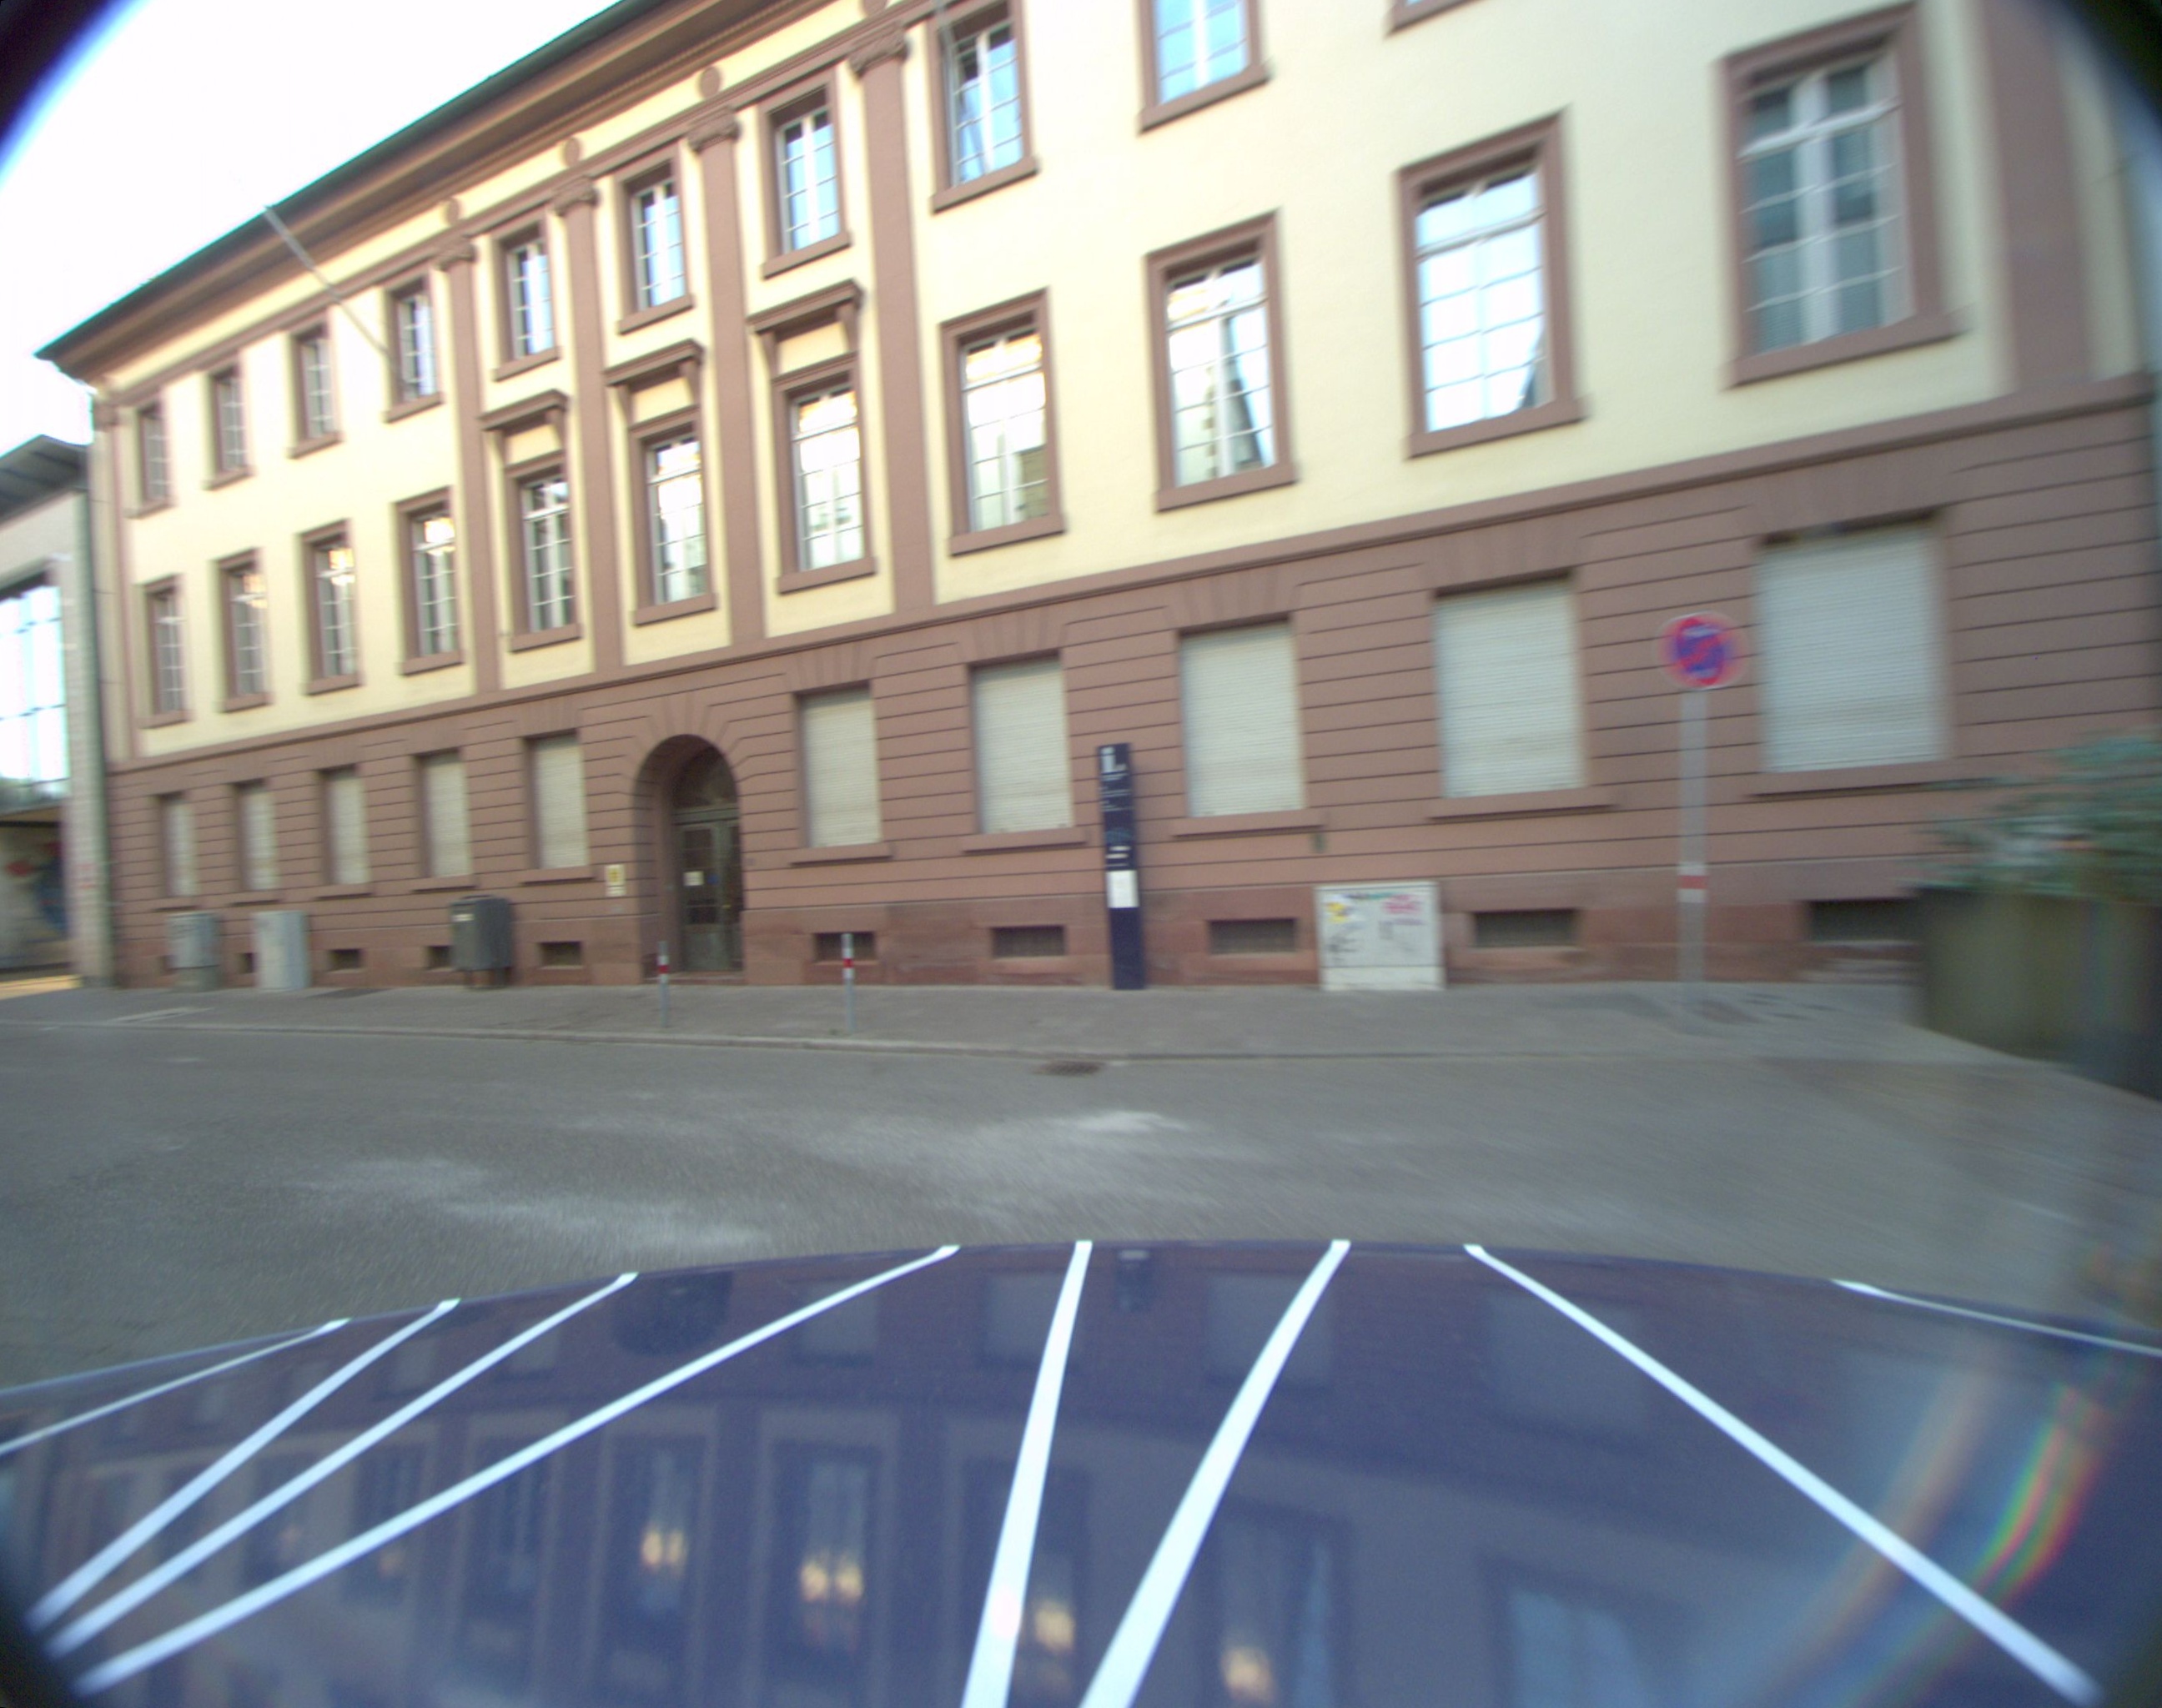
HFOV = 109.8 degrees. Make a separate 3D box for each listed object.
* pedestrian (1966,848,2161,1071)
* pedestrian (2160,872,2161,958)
[{"bbox_3d":[6.628,0.654,5.026,0.672,1.323,0.793,-3,2,18],"label":"pedestrian"},{"bbox_3d":[7.251,0.703,4.477,0.672,1.177,0.793,-3,2,18],"label":"pedestrian"}]
